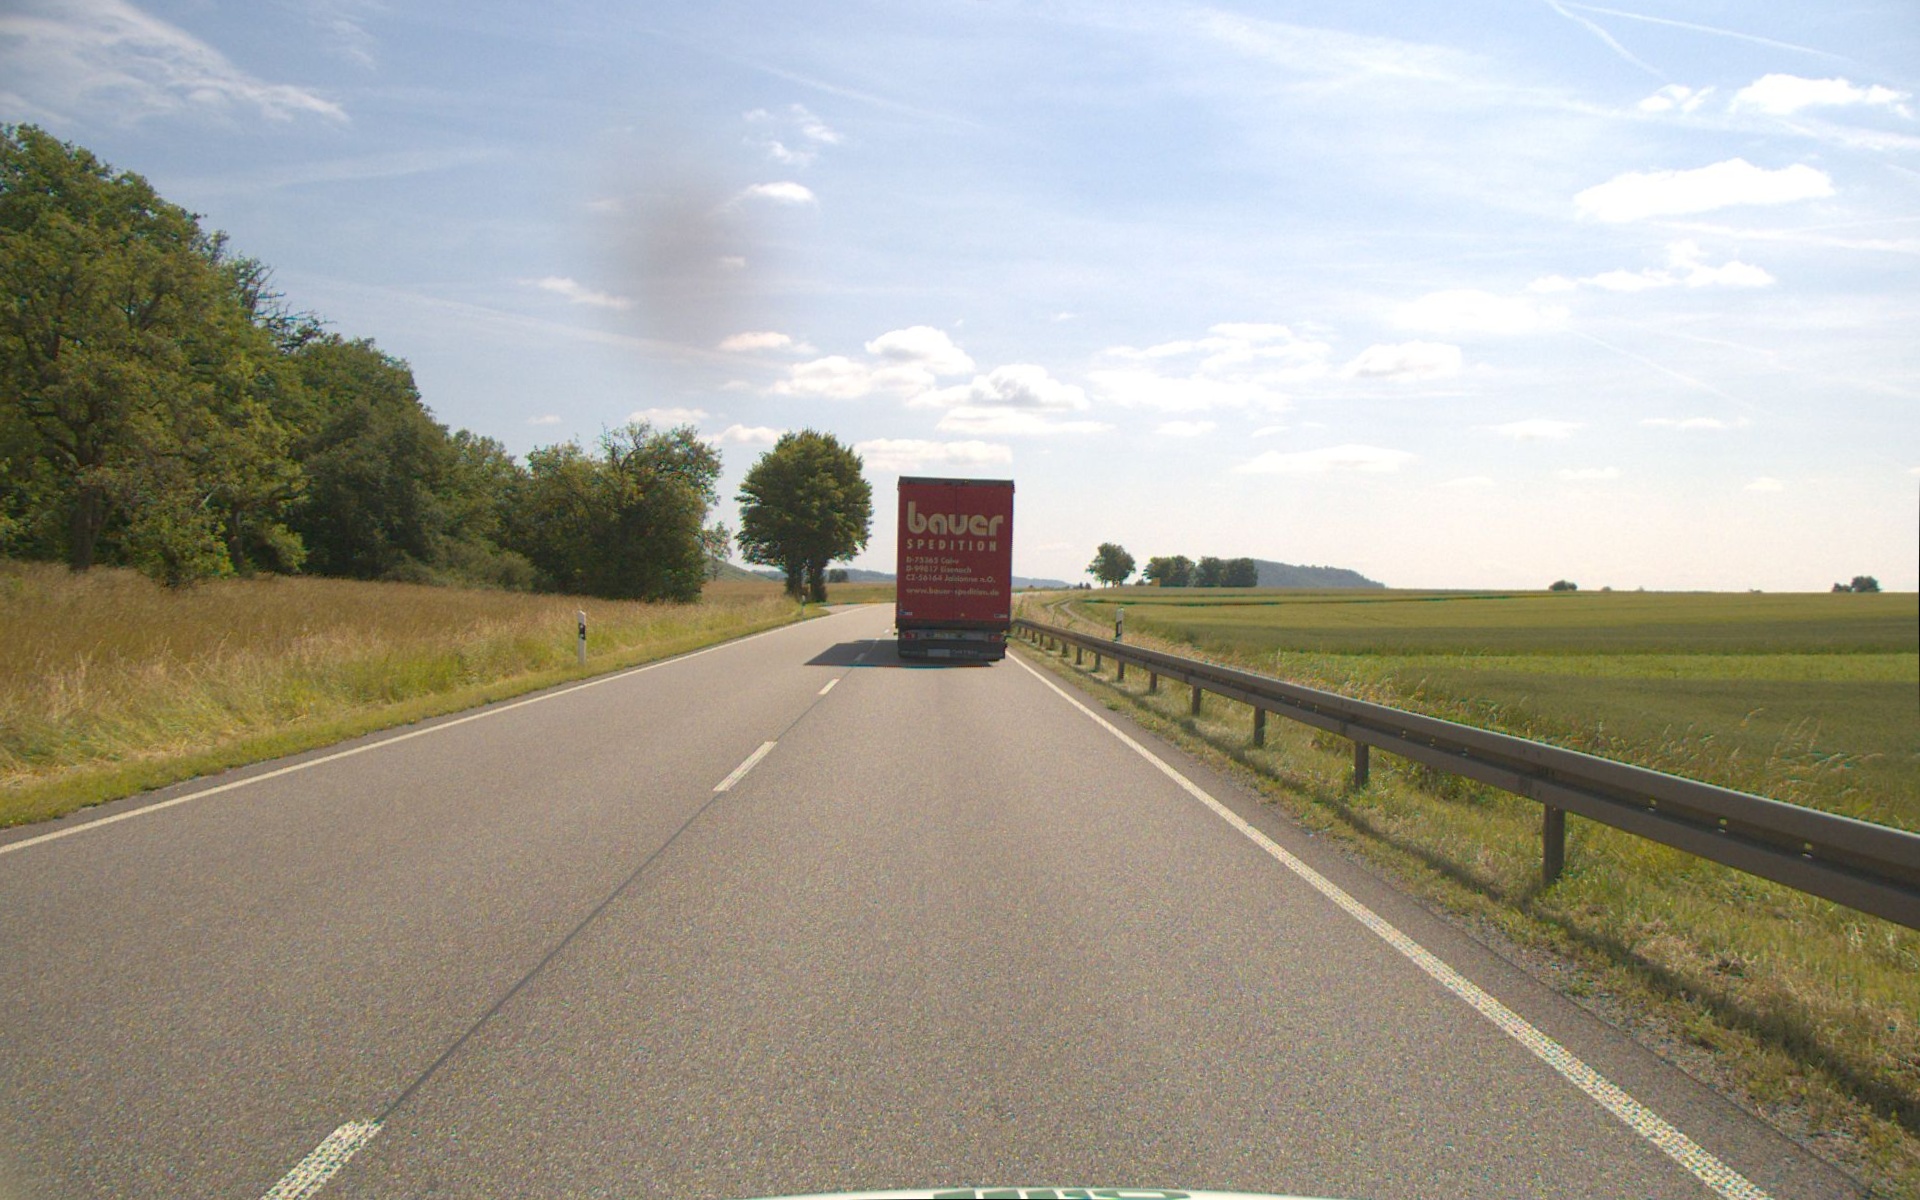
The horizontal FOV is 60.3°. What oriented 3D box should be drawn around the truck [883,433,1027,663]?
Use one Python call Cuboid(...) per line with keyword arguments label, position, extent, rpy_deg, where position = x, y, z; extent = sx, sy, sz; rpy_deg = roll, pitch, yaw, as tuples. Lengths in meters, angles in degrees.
Cuboid(label="truck", position=(-0.266, -1.062, 39.784), extent=(2.915, 4.796, 9.361), rpy_deg=(2, -1, -2))
